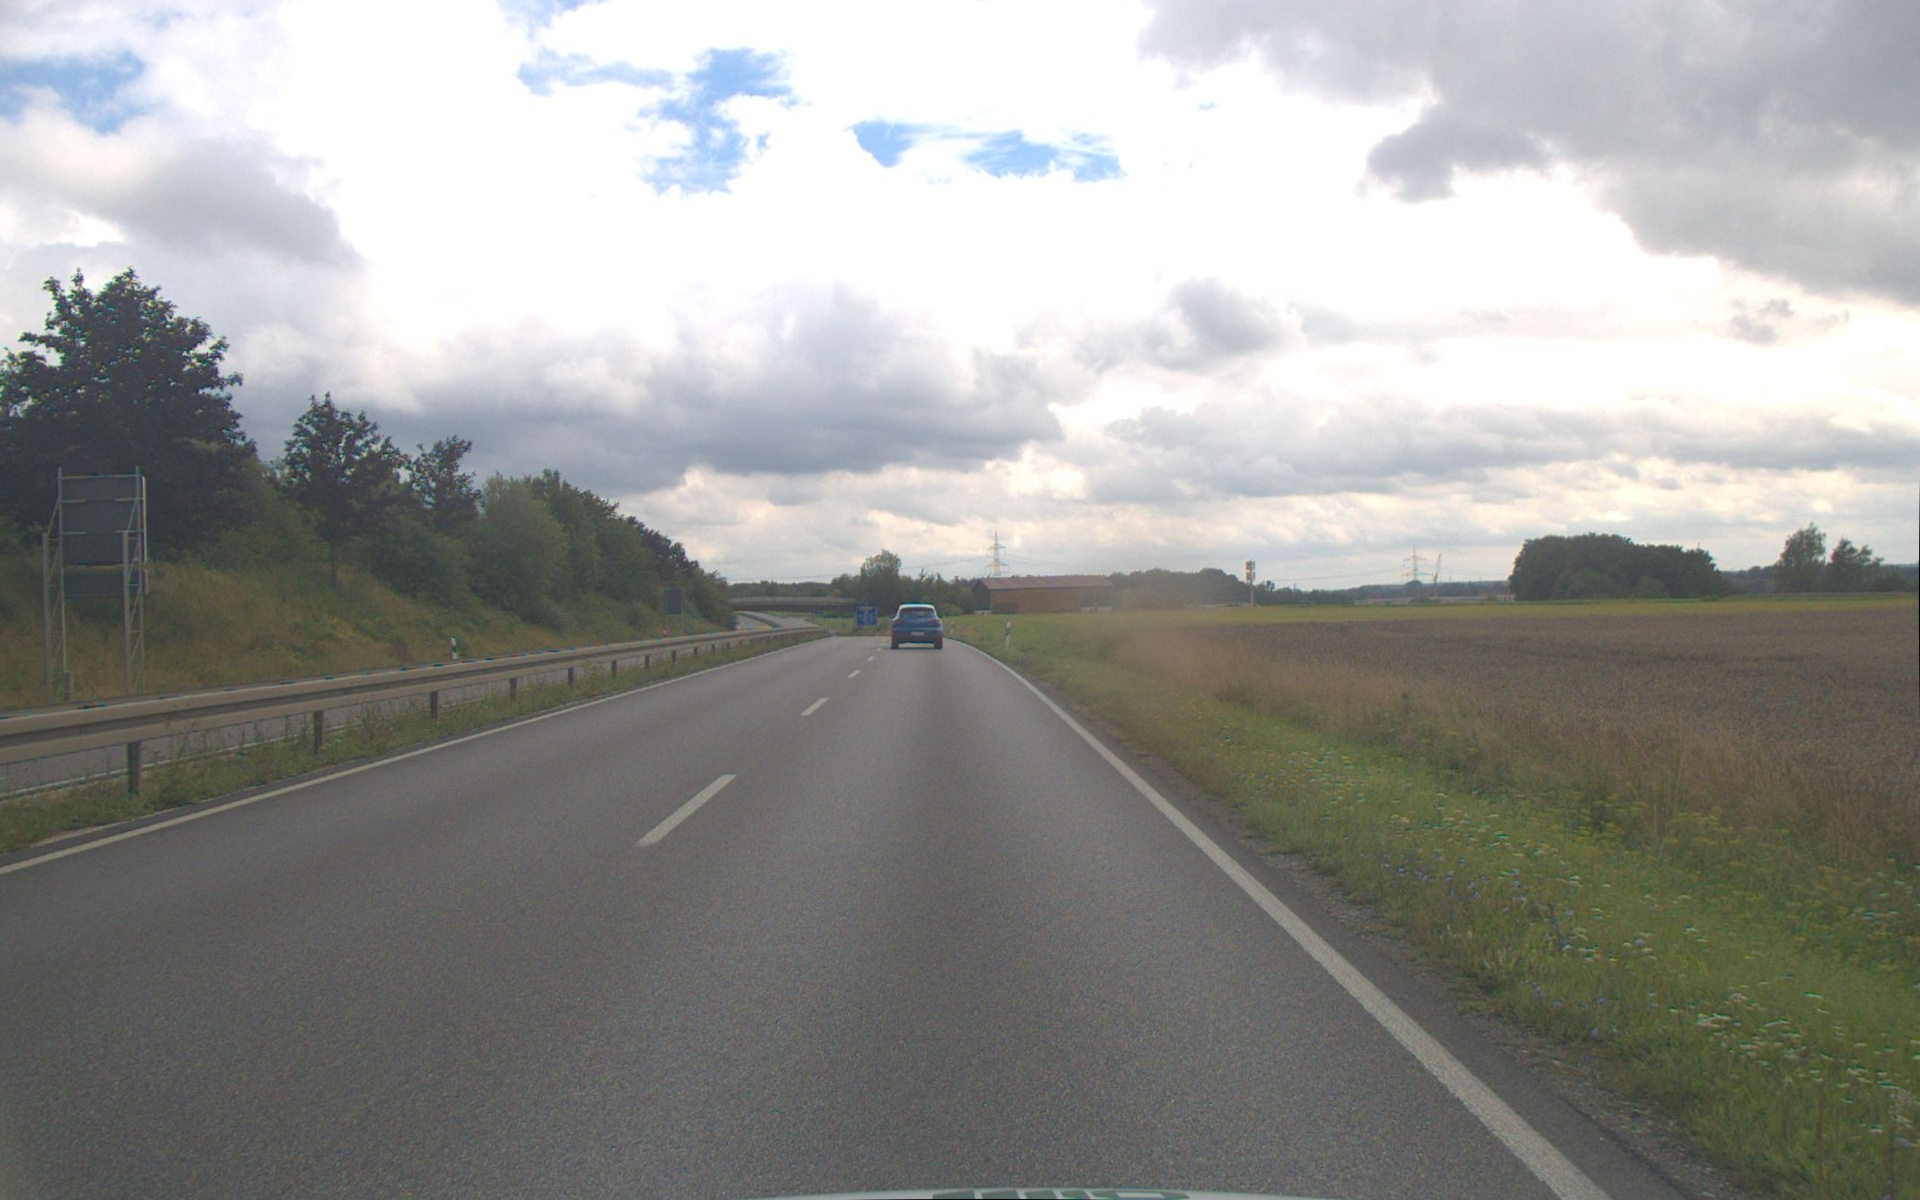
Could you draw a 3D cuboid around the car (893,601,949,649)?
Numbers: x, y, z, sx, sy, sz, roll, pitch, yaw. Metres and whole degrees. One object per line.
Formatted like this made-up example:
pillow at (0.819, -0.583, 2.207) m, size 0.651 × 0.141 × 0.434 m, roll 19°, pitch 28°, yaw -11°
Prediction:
car at (-1.427, 0.907, 61.980) m, size 1.991 × 1.689 × 4.543 m, roll 0°, pitch 0°, yaw 0°
